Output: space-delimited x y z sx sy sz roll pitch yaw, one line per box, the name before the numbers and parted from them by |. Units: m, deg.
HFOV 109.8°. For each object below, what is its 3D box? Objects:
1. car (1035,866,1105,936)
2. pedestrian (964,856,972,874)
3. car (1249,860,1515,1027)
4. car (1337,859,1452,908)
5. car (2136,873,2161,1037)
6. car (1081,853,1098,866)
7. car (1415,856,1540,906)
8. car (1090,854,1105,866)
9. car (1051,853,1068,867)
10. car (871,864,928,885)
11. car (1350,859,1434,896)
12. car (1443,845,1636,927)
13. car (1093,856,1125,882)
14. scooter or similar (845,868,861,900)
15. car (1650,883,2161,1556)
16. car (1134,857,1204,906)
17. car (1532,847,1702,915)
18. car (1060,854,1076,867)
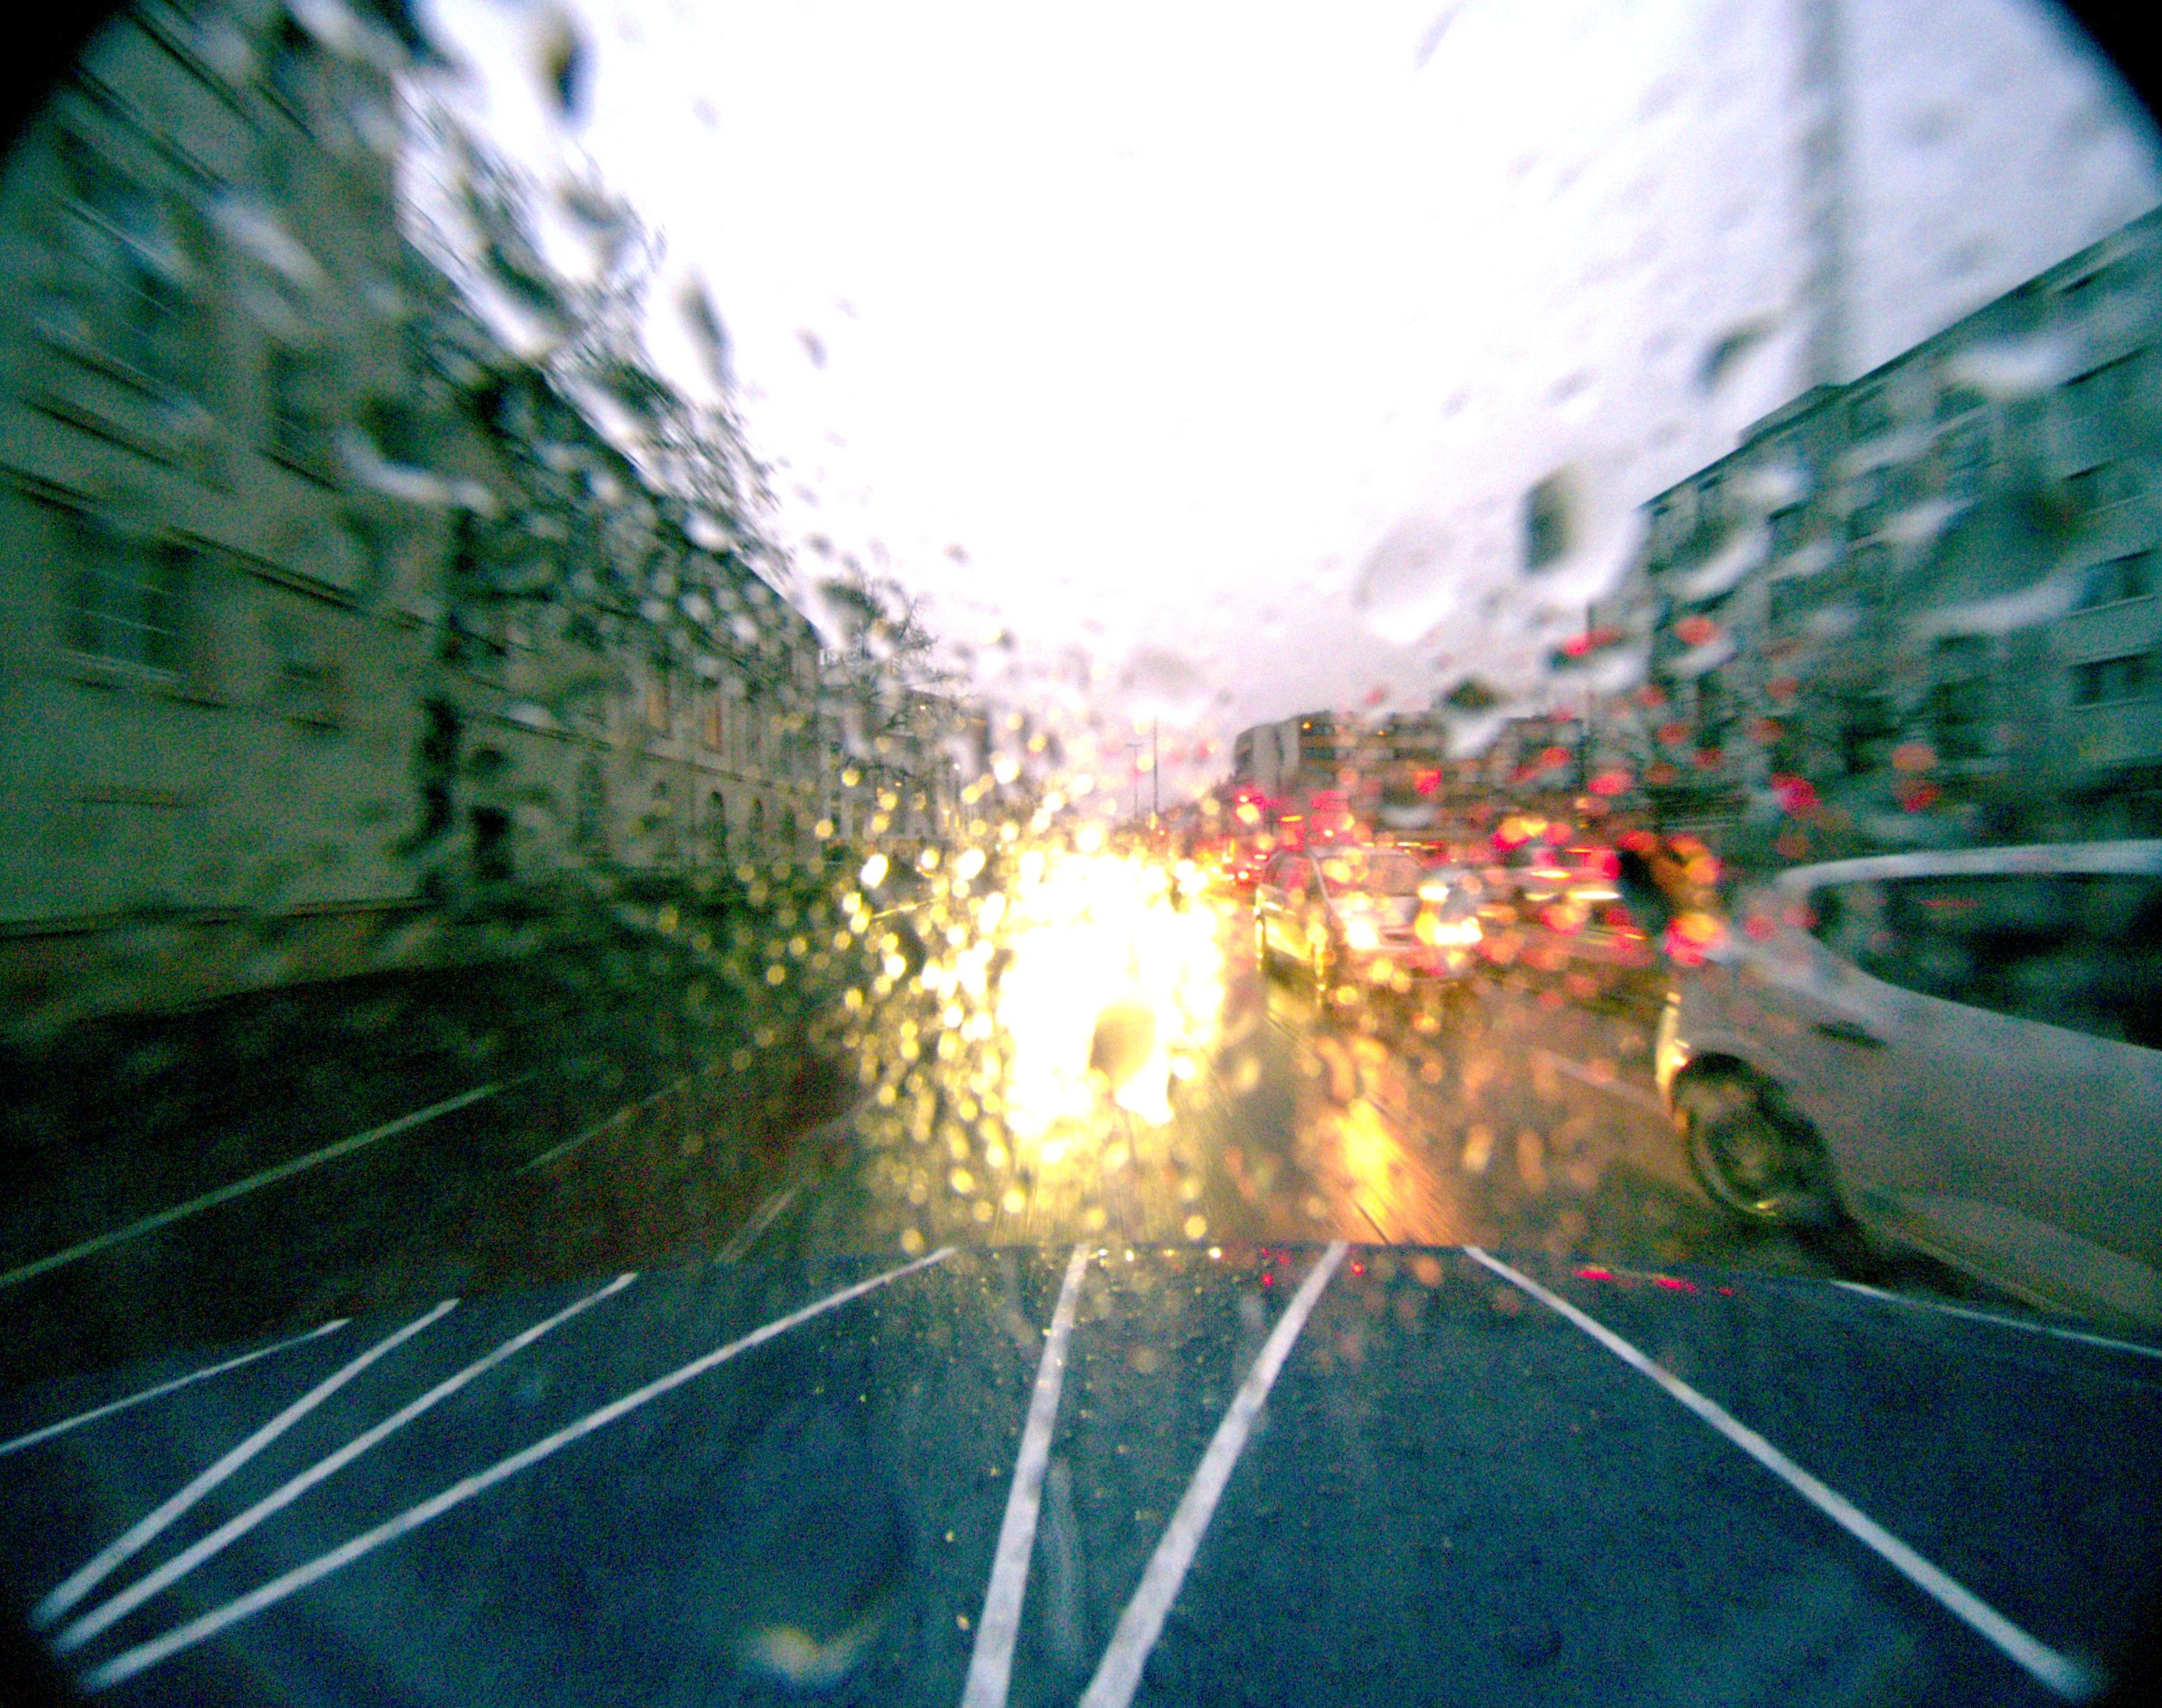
car | -0.313 1.175 20.375 1.650 1.575 3.804 -2 0 -2
pedestrian | -10.029 0.964 67.211 0.656 1.579 0.562 -2 0 -9
car | 3.329 0.871 9.308 1.649 1.539 4.109 -1 0 1
car | 10.496 0.941 25.866 1.968 1.505 4.533 0 0 -1
car | 10.489 0.892 4.914 1.649 1.478 4.145 0 0 2
car | 0.977 0.717 92.546 1.999 1.525 4.000 -2 0 -1
car | 13.839 0.892 26.885 1.968 1.630 4.533 0 0 -1
car | 2.272 0.787 106.097 1.999 1.599 4.000 -2 0 -1
car | -2.639 0.739 93.083 1.999 1.685 4.000 -2 0 -1
car | -15.564 1.741 65.298 4.567 1.708 1.725 -2 0 -9
car | 13.645 0.990 33.625 1.898 1.559 4.194 0 0 -1
car | 11.056 0.710 18.792 1.967 1.772 4.533 0 0 -1
car | 1.926 0.998 51.715 1.818 1.732 4.189 0 0 7
scooter or similar | -8.721 1.125 29.094 0.442 1.196 1.080 -2 0 -9
car | 3.275 0.853 1.295 1.630 1.478 4.000 -1 0 0
car | 2.895 0.858 25.795 1.753 1.535 3.999 0 0 -3
car | 13.751 0.637 19.802 1.793 1.572 3.803 -1 0 1
car | -1.651 0.869 99.735 1.999 1.693 4.000 -2 0 -1
